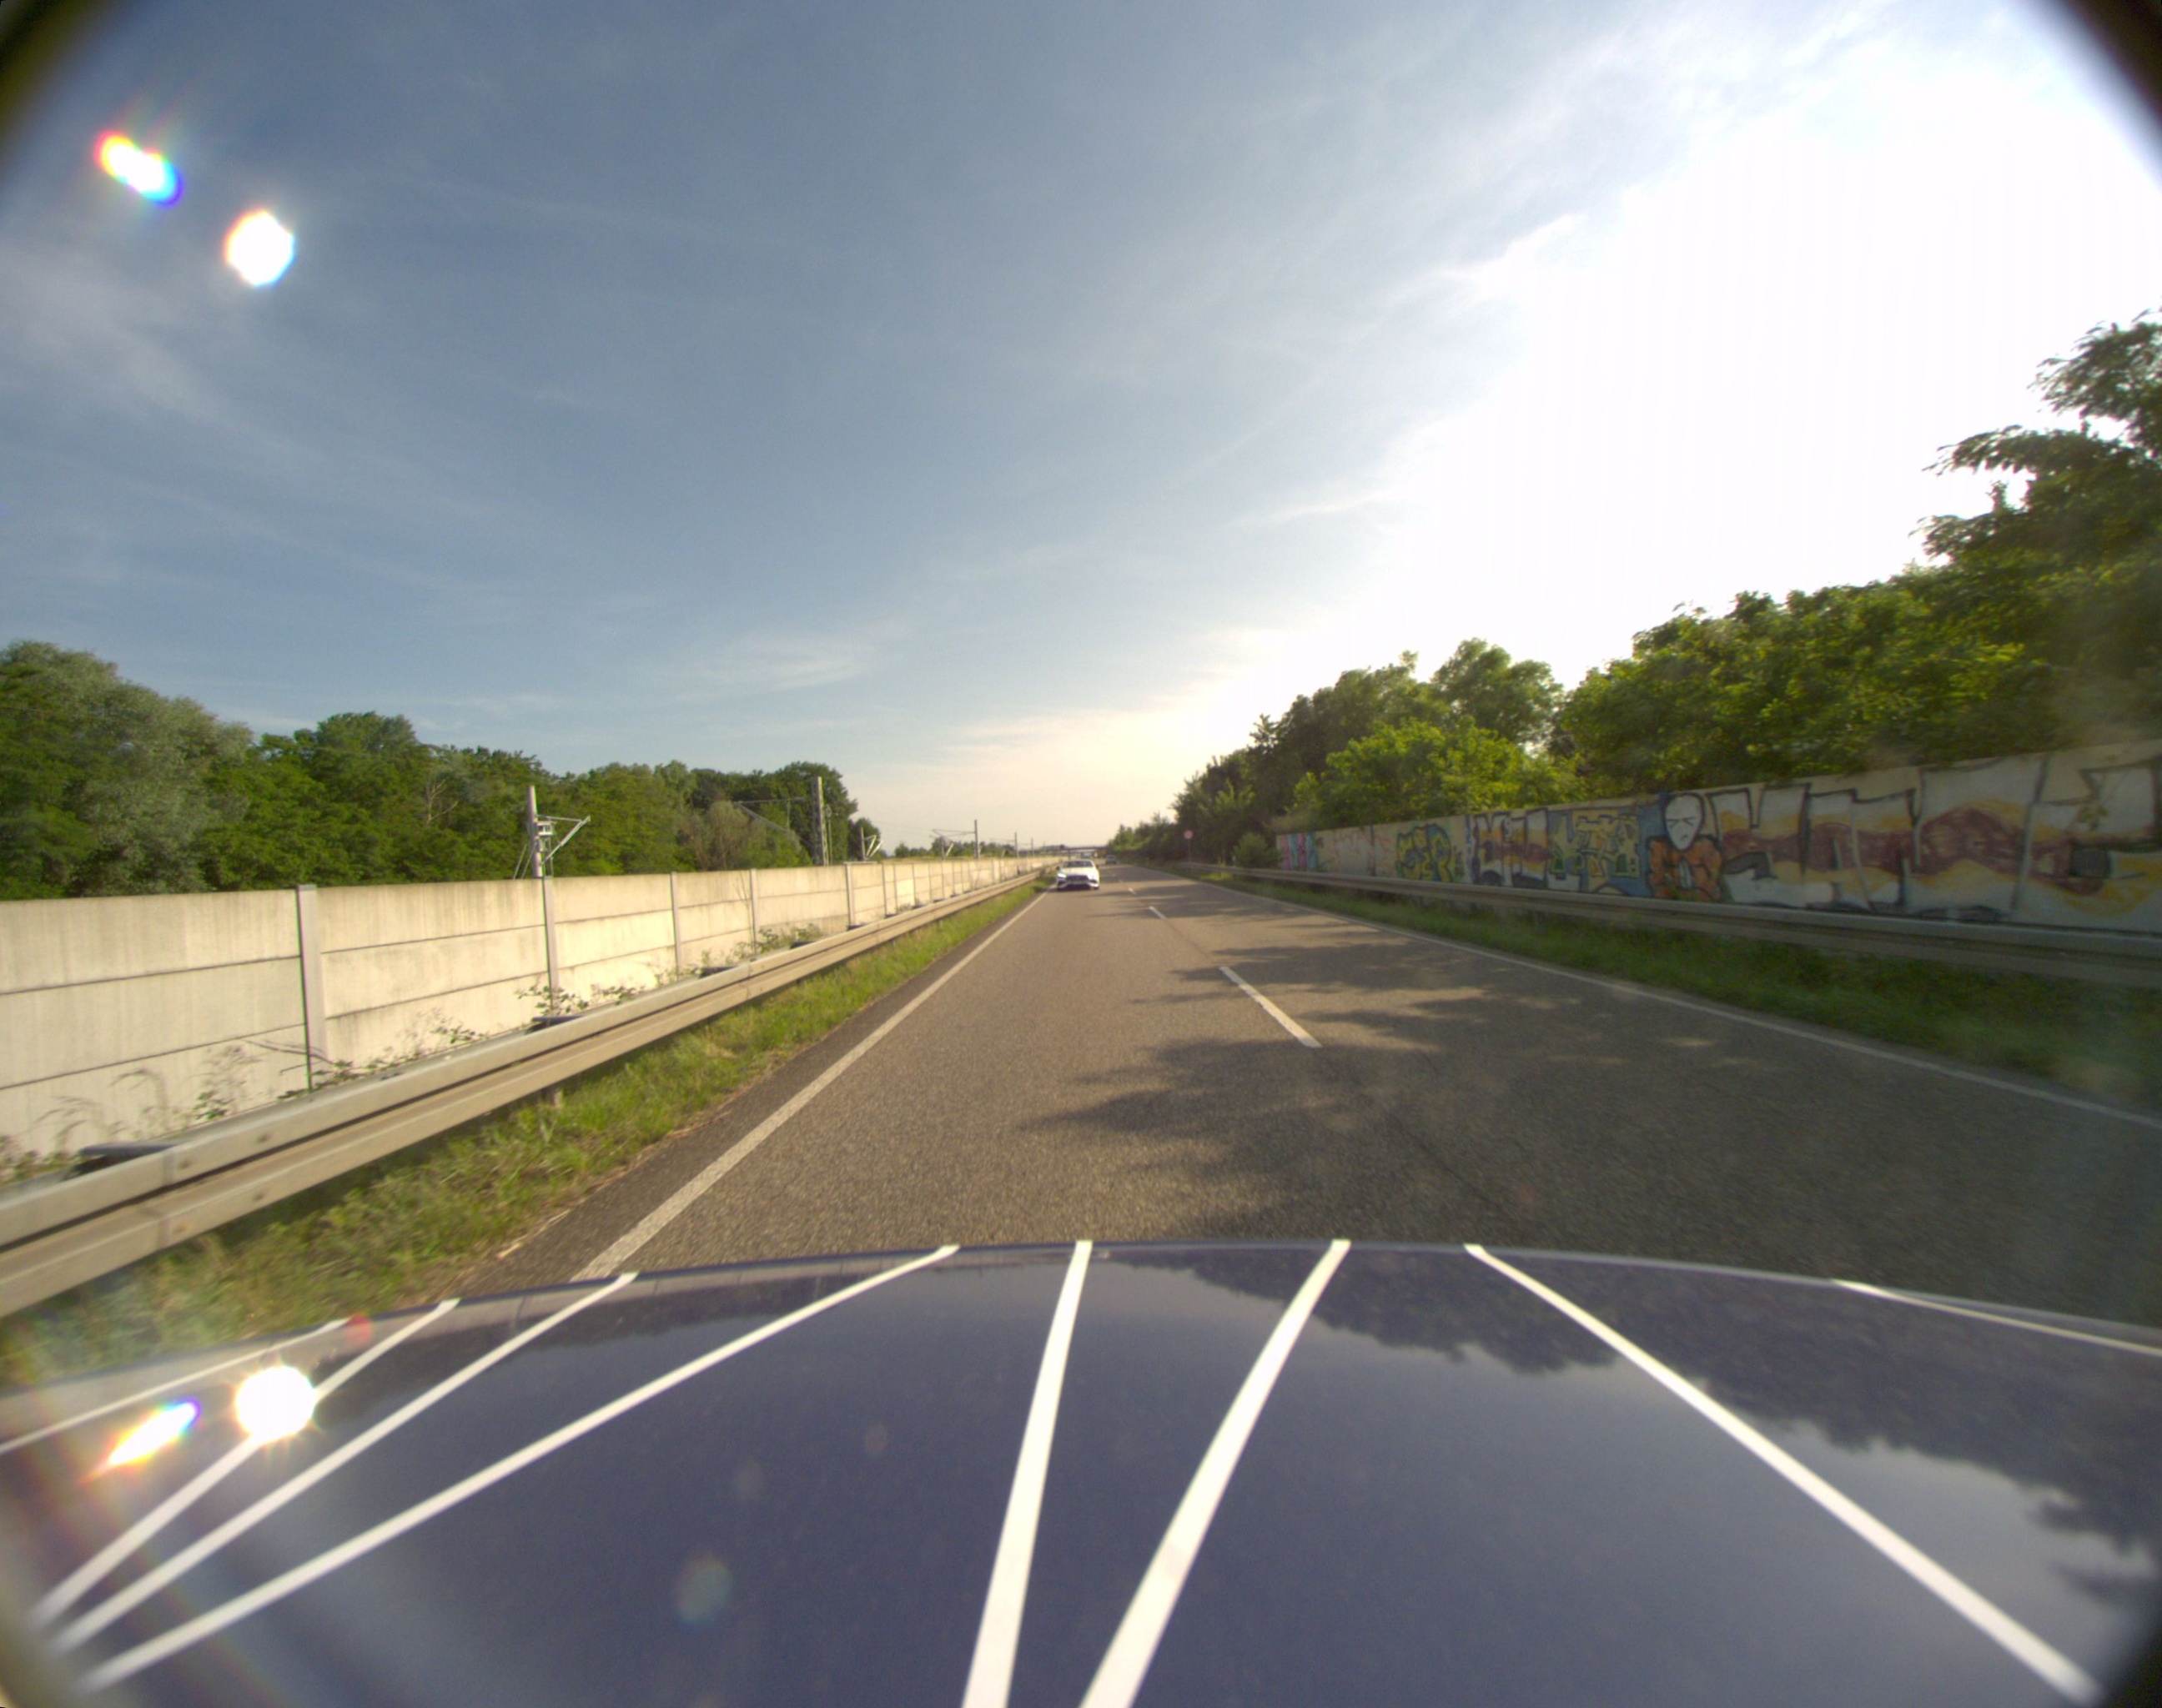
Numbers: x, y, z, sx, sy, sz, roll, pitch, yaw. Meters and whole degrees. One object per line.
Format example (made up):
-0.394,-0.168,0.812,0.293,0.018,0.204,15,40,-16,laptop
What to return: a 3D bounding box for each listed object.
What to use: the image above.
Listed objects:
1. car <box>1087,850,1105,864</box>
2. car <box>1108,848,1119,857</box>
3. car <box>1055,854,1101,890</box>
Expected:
1.720,0.340,88.313,1.953,1.430,4.611,-4,0,1,car
5.284,-0.279,124.781,1.724,1.386,4.360,-3,1,1,car
-0.114,0.779,35.369,1.952,1.430,4.611,-3,0,1,car
